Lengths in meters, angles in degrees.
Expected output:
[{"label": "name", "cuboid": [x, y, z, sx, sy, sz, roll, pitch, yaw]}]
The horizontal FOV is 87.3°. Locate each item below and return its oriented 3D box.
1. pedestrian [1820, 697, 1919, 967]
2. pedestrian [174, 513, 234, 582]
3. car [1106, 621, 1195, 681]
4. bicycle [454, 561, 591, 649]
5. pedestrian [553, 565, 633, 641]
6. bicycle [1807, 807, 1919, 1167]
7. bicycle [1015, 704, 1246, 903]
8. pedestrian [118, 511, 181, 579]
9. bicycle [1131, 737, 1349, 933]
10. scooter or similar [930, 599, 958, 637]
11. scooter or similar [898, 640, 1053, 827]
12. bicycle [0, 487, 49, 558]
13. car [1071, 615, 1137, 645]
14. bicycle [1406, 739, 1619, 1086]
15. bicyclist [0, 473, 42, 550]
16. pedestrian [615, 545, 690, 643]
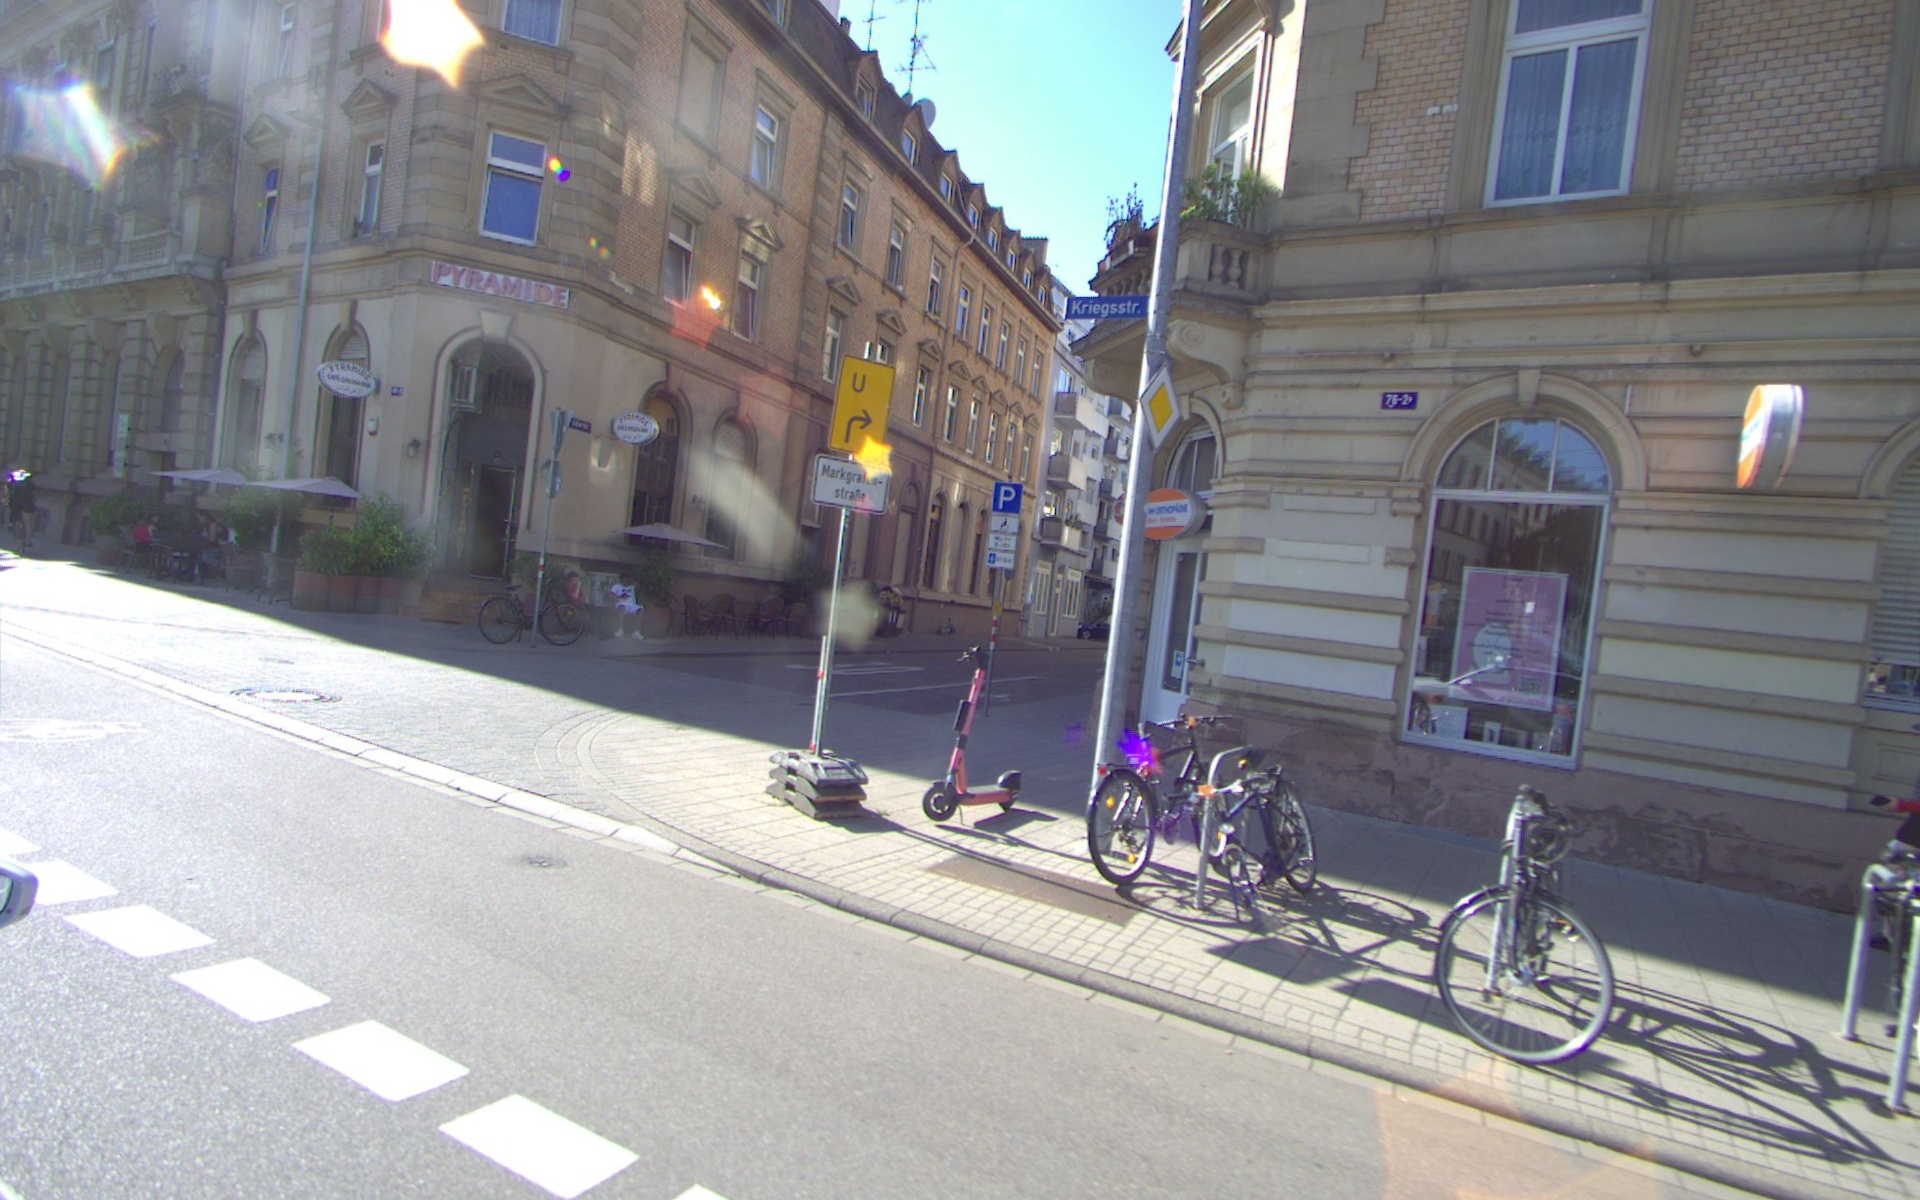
[{"label": "pedestrian", "cuboid": [6.109, 1.454, 6.238, 0.911, 1.561, 0.710, 7, 1, 31]}, {"label": "pedestrian", "cuboid": [-14.970, -1.031, 19.917, 0.624, 1.253, 0.706, 7, 3, 31]}, {"label": "car", "cuboid": [5.863, 1.548, 30.596, 1.769, 1.437, 3.998, 9, 1, 22]}, {"label": "bicycle", "cuboid": [-6.942, 0.101, 16.039, 0.643, 1.186, 1.818, 12, 3, 35]}, {"label": "pedestrian", "cuboid": [-6.685, 0.066, 18.341, 0.917, 1.229, 0.852, 7, 0, 24]}, {"label": "bicycle", "cuboid": [4.078, 1.556, 4.168, 0.597, 1.060, 1.599, 8, 3, 34]}, {"label": "bicycle", "cuboid": [1.112, 1.185, 6.255, 0.597, 0.956, 1.668, 8, 2, 38]}, {"label": "pedestrian", "cuboid": [-15.426, -1.047, 19.147, 0.624, 1.194, 0.706, 7, 3, 31]}, {"label": "bicycle", "cuboid": [1.729, 1.326, 6.033, 0.597, 0.832, 1.668, 8, 2, 38]}, {"label": "scooter or similar", "cuboid": [-0.561, 0.641, 35.200, 0.344, 1.237, 1.526, 7, 1, 20]}, {"label": "scooter or similar", "cuboid": [0.134, 0.933, 7.276, 0.413, 1.205, 1.110, 8, 2, 38]}, {"label": "bicycle", "cuboid": [-19.952, -1.658, 21.283, 1.870, 1.350, 0.614, 8, 5, 36]}, {"label": "car", "cuboid": [8.288, 1.715, 57.973, 3.295, 1.299, 1.706, 7, 0, -7]}, {"label": "bicycle", "cuboid": [2.674, 1.338, 4.774, 0.597, 1.115, 1.722, 8, 3, 34]}, {"label": "bicyclist", "cuboid": [-19.898, -1.877, 21.206, 0.788, 1.552, 0.659, 8, 6, 35]}, {"label": "pedestrian", "cuboid": [-6.060, -0.114, 19.849, 0.852, 1.782, 0.909, 7, 0, 24]}]
